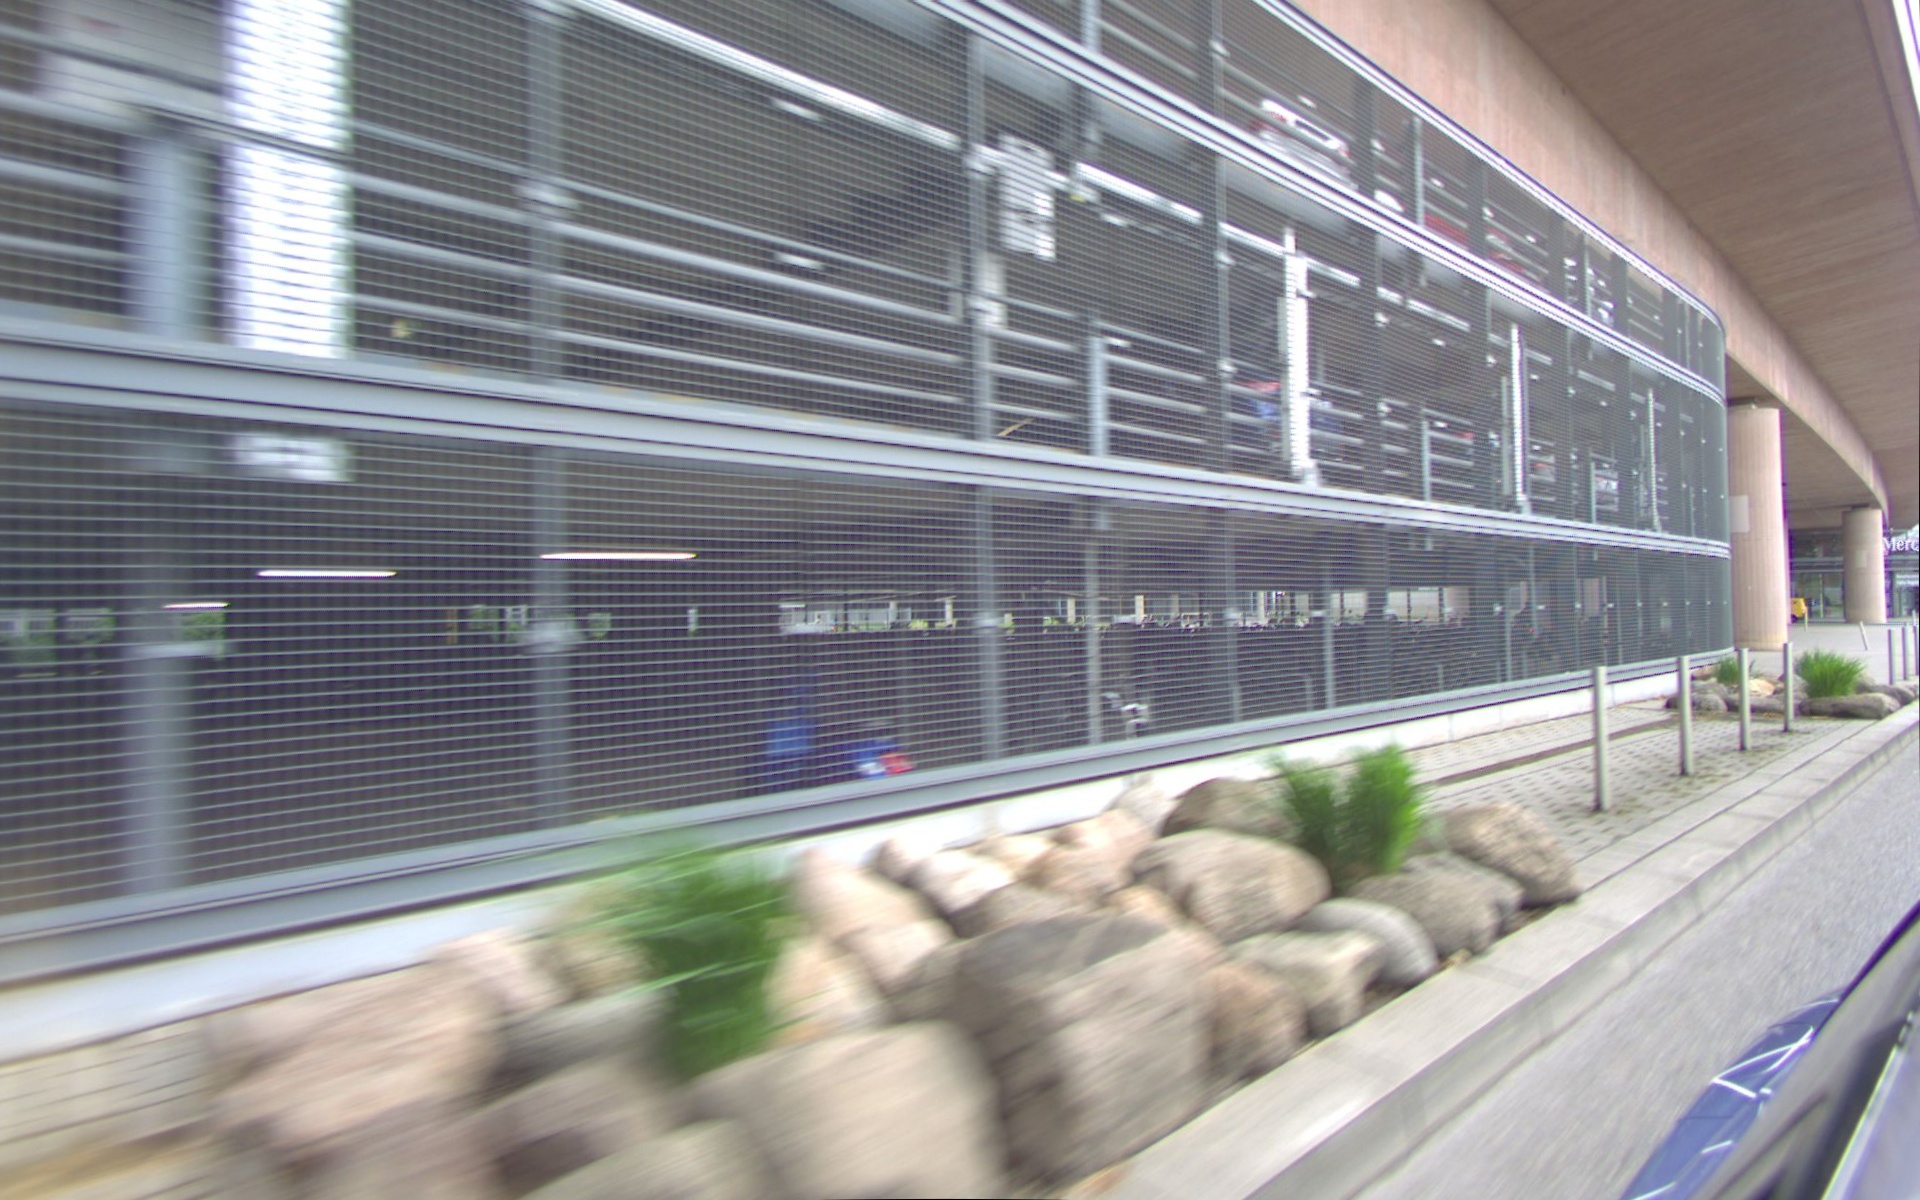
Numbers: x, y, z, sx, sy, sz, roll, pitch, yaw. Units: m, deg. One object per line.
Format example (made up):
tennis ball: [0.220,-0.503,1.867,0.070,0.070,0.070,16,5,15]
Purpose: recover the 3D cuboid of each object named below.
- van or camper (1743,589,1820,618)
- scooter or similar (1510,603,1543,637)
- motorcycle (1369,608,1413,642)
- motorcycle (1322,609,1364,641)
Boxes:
van or camper: [64.483,0.317,79.498,4.489,2.026,2.324,-1,-7,44]
scooter or similar: [19.265,0.676,34.413,1.226,1.148,0.400,1,-2,-30]
motorcycle: [16.245,0.948,38.151,2.042,1.236,0.673,1,-2,-41]
motorcycle: [15.095,0.974,39.866,2.042,1.236,0.673,1,-2,-41]
